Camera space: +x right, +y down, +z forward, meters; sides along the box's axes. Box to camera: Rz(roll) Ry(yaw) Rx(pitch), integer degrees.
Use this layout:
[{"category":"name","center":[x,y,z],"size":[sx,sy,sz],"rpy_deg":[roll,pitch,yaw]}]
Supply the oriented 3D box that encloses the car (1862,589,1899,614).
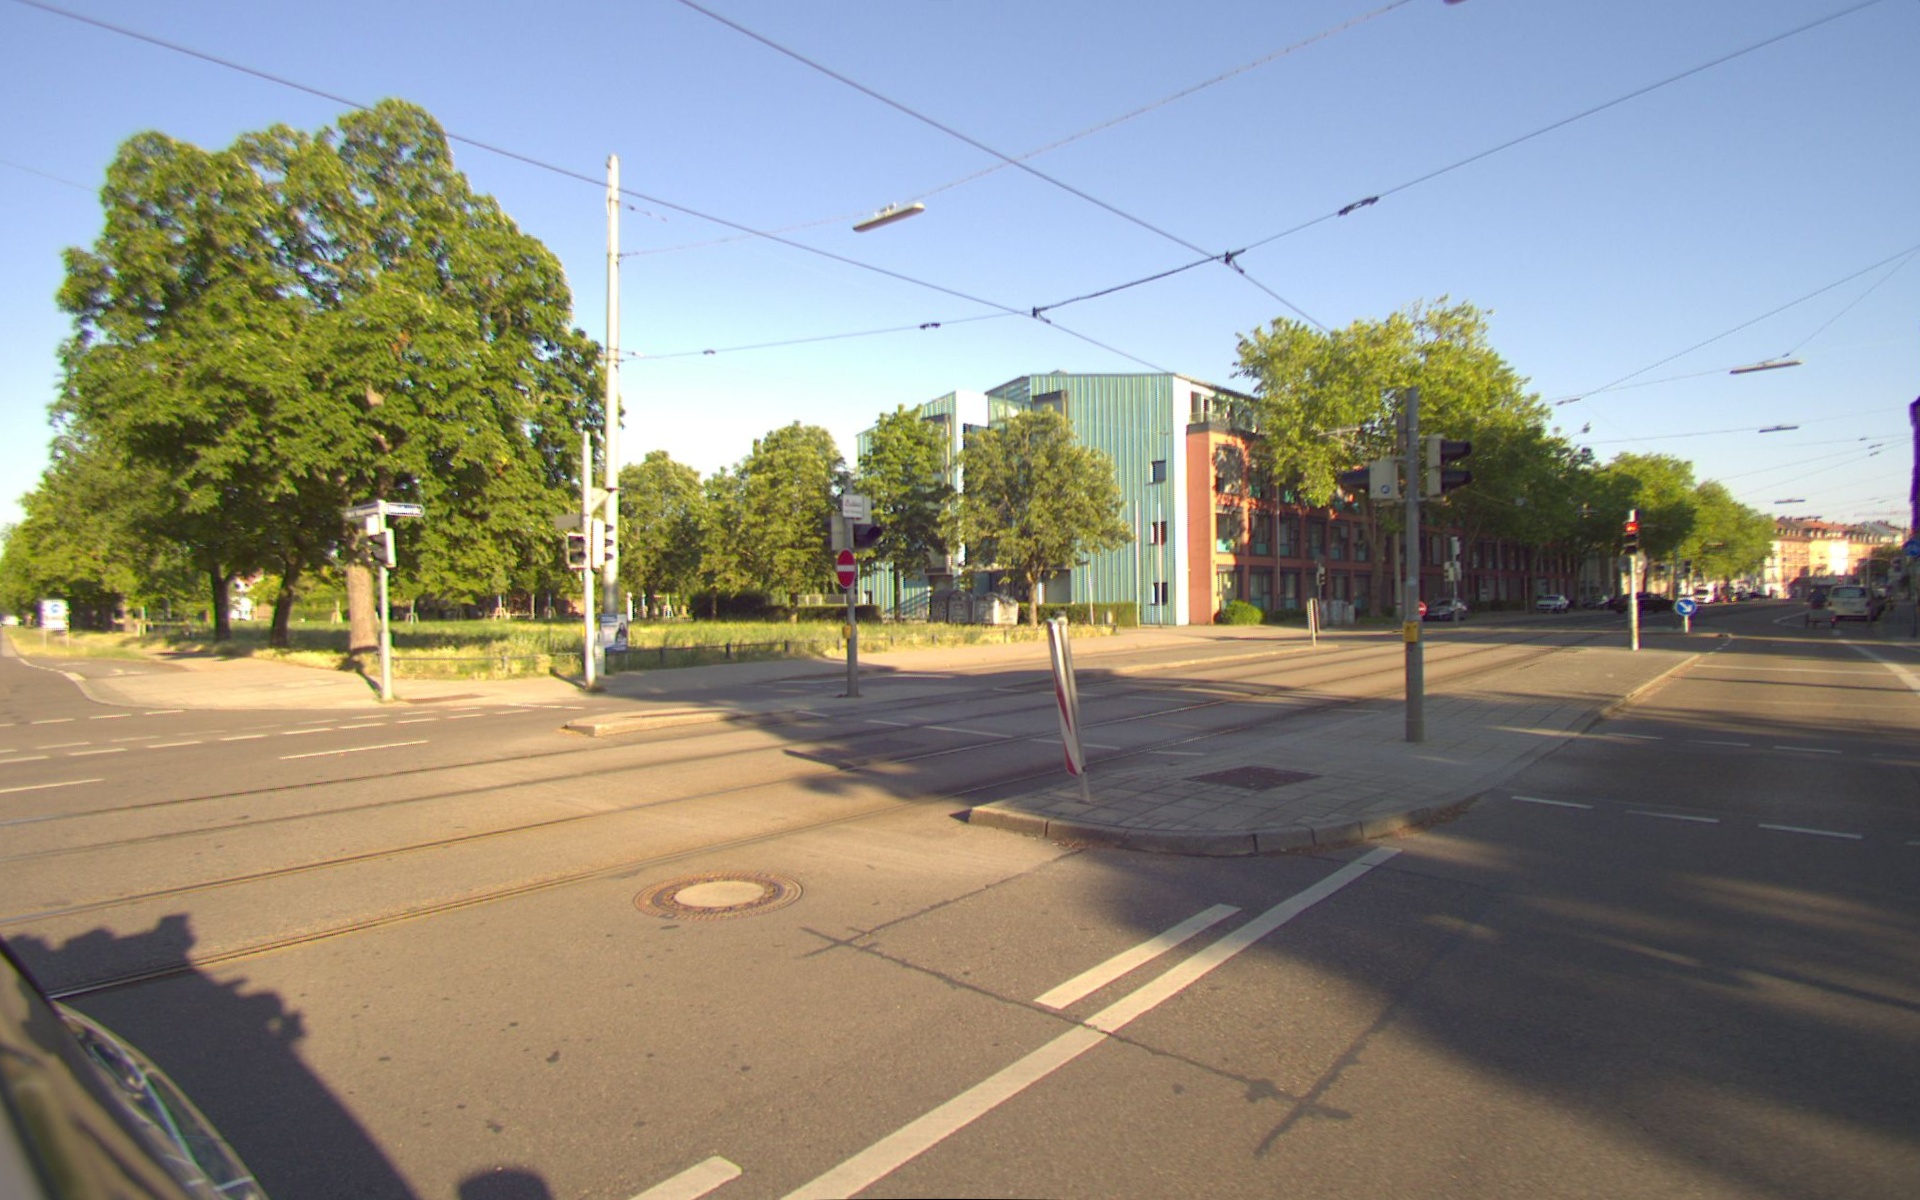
[{"category":"car","center":[69.539,0.109,76.446],"size":[2.000,1.684,3.727],"rpy_deg":[-1,2,43]}]

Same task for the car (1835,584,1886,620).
[{"category":"car","center":[49.607,0.100,55.756],"size":[2.032,1.749,3.727],"rpy_deg":[-1,2,43]}]

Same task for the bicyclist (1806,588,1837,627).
[{"category":"bicyclist","center":[38.754,0.347,45.535],"size":[1.130,1.736,0.876],"rpy_deg":[0,-1,-39]}]

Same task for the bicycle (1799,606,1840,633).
[{"category":"bicycle","center":[38.493,0.868,45.307],"size":[3.034,1.170,0.876],"rpy_deg":[0,-1,-40]}]

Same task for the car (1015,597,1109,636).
[{"category":"car","center":[5.199,0.809,50.998],"size":[1.968,1.684,5.149],"rpy_deg":[-1,2,44]}]

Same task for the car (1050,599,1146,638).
[{"category":"car","center":[6.786,0.876,49.303],"size":[2.000,1.684,5.149],"rpy_deg":[-1,1,43]}]
